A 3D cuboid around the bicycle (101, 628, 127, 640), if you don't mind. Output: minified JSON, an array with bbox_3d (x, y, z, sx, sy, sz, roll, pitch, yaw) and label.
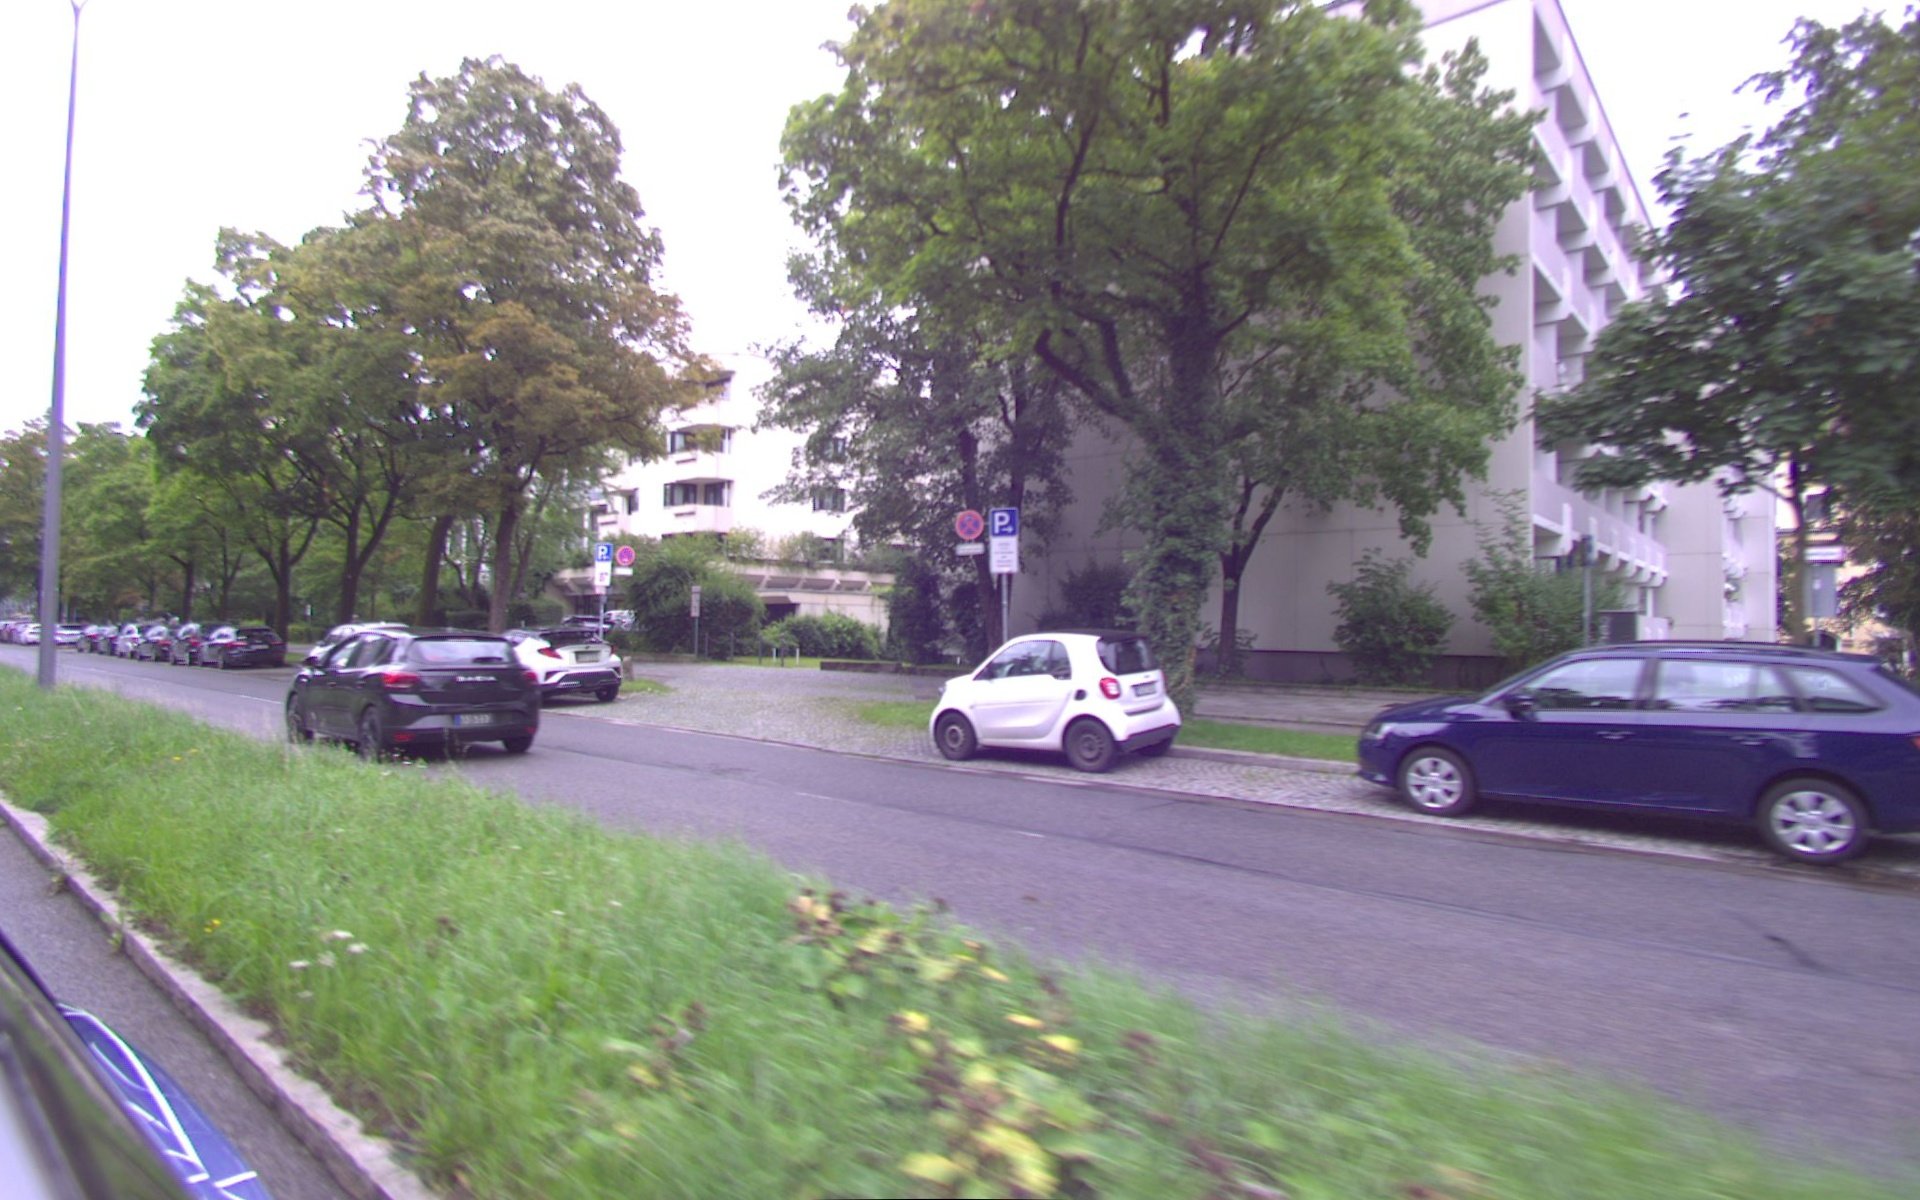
[{"bbox_3d":[-75.842,3.068,90.760,0.436,1.014,1.744,-2,-3,40],"label":"bicycle"}]

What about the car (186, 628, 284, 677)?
[{"bbox_3d":[-25.169,1.763,35.067,4.946,1.525,1.742,-2,0,42],"label":"car"}]

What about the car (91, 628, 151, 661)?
[{"bbox_3d":[-40.133,2.085,48.367,4.191,1.434,1.608,-1,0,42],"label":"car"}]

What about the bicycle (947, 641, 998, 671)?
[{"bbox_3d":[0.403,1.811,32.914,1.765,0.907,0.472,-1,-2,41],"label":"bicycle"}]

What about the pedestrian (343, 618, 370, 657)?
[{"bbox_3d":[-26.082,1.638,43.746,0.838,1.669,0.609,2,-3,-43],"label":"pedestrian"}]

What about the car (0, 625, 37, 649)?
[{"bbox_3d":[-69.048,2.689,73.964,4.602,1.664,1.722,-1,0,40],"label":"car"}]

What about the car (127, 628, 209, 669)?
[{"bbox_3d":[-32.757,1.944,41.823,5.031,1.536,1.698,-1,0,41],"label":"car"}]

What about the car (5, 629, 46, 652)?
[{"bbox_3d":[-65.270,2.827,70.664,4.332,1.494,1.721,-1,0,41],"label":"car"}]

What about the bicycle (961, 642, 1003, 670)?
[{"bbox_3d":[0.717,1.837,33.452,1.449,0.907,0.453,-1,-3,41],"label":"bicycle"}]

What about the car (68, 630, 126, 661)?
[{"bbox_3d":[-44.203,2.288,51.814,4.360,1.434,1.564,-1,0,41],"label":"car"}]

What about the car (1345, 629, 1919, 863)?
[{"bbox_3d":[5.522,0.991,8.178,4.213,1.486,1.657,-1,-2,41],"label":"car"}]

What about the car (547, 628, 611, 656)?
[{"bbox_3d":[-17.378,1.891,46.107,3.126,1.209,1.440,-2,-2,42],"label":"car"}]

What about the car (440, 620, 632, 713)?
[{"bbox_3d":[-8.638,1.261,20.416,4.490,1.622,1.813,-2,0,42],"label":"car"}]

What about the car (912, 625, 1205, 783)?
[{"bbox_3d":[1.133,1.124,12.136,3.076,1.577,1.674,-1,0,39],"label":"car"}]

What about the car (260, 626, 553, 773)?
[{"bbox_3d":[-6.718,1.061,12.091,4.213,1.451,1.720,-1,-3,41],"label":"car"}]

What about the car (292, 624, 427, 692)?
[{"bbox_3d":[-16.125,1.495,27.080,4.486,1.607,1.739,-2,0,40],"label":"car"}]

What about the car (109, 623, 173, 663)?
[{"bbox_3d":[-36.749,1.914,45.378,3.866,1.660,1.608,-1,0,42],"label":"car"}]

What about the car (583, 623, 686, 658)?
[{"bbox_3d":[-14.141,1.742,44.106,1.861,1.429,3.937,-1,-2,39],"label":"car"}]

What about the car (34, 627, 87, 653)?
[{"bbox_3d":[-54.118,2.381,60.859,4.819,1.459,1.718,-1,0,41],"label":"car"}]

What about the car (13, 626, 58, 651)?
[{"bbox_3d":[-61.359,2.518,67.144,4.473,1.541,1.721,-1,-1,41],"label":"car"}]

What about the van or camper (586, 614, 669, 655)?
[{"bbox_3d":[-15.961,1.658,48.517,4.429,1.885,1.837,-2,-2,42],"label":"van or camper"}]

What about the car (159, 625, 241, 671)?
[{"bbox_3d":[-28.730,1.767,38.213,4.209,1.609,1.668,-2,0,42],"label":"car"}]

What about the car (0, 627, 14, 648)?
[{"bbox_3d":[-77.422,2.993,81.420,3.818,1.626,1.629,-2,-1,43],"label":"car"}]
